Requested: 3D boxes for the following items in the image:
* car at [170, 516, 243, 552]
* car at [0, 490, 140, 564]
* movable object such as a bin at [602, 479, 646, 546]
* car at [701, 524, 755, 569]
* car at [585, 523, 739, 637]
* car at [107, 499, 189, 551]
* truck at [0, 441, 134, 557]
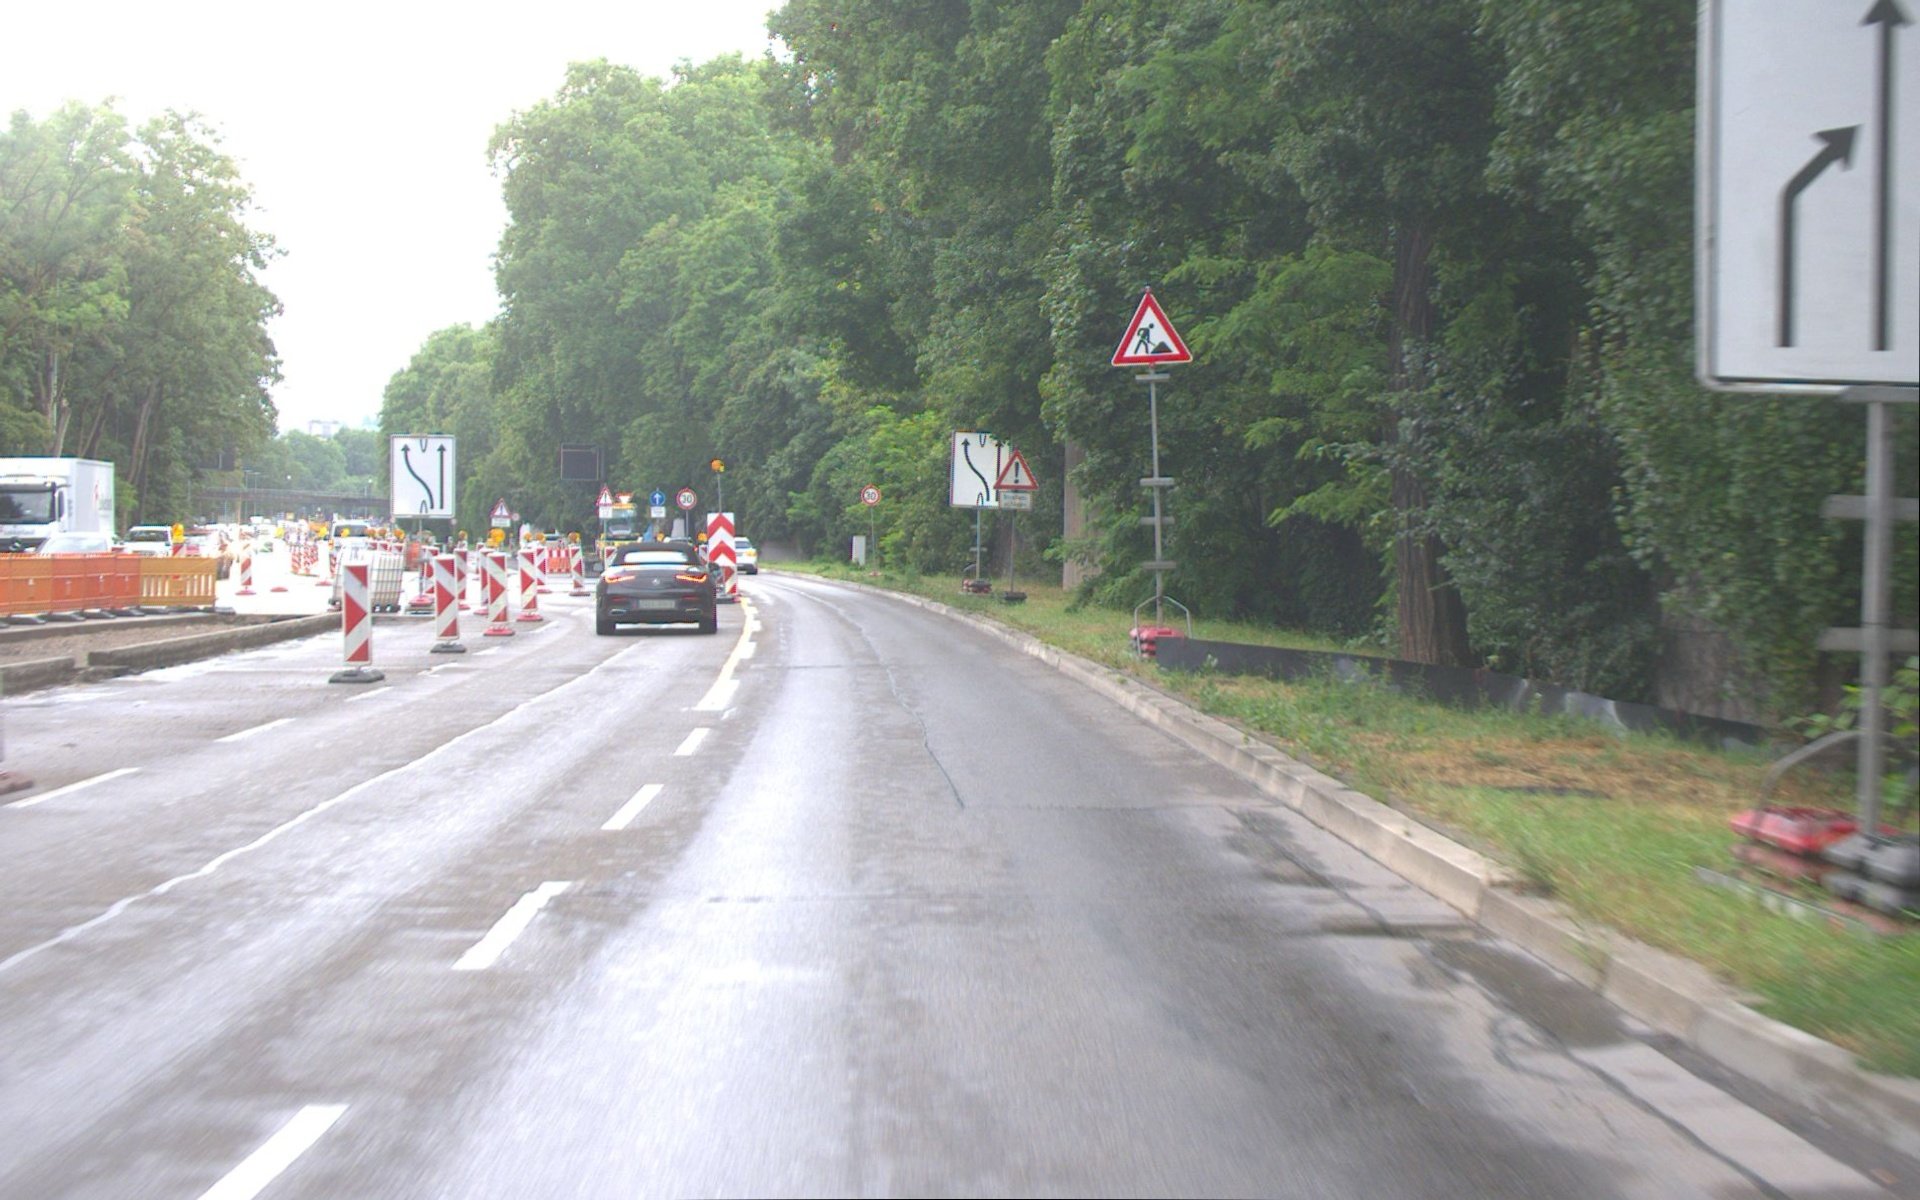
[{"bbox_3d":[-24.807,-2.179,113.317,1.605,1.148,4.283,0,1,-2],"label":"car"},{"bbox_3d":[-18.671,-1.552,72.237,1.856,1.481,4.679,0,2,-1],"label":"car"},{"bbox_3d":[-14.549,-3.793,148.567,1.746,2.857,3.535,-1,1,-8],"label":"movable object such as a bin"},{"bbox_3d":[-9.106,-2.110,134.607,1.913,1.592,4.835,1,2,-6],"label":"car"},{"bbox_3d":[-4.620,-0.349,53.745,1.862,1.486,4.001,2,4,2],"label":"car"},{"bbox_3d":[-28.669,-2.672,121.483,1.844,1.717,4.720,-3,2,-2],"label":"car"},{"bbox_3d":[-25.997,-2.879,98.495,2.795,3.137,10.149,0,1,-4],"label":"truck"}]
